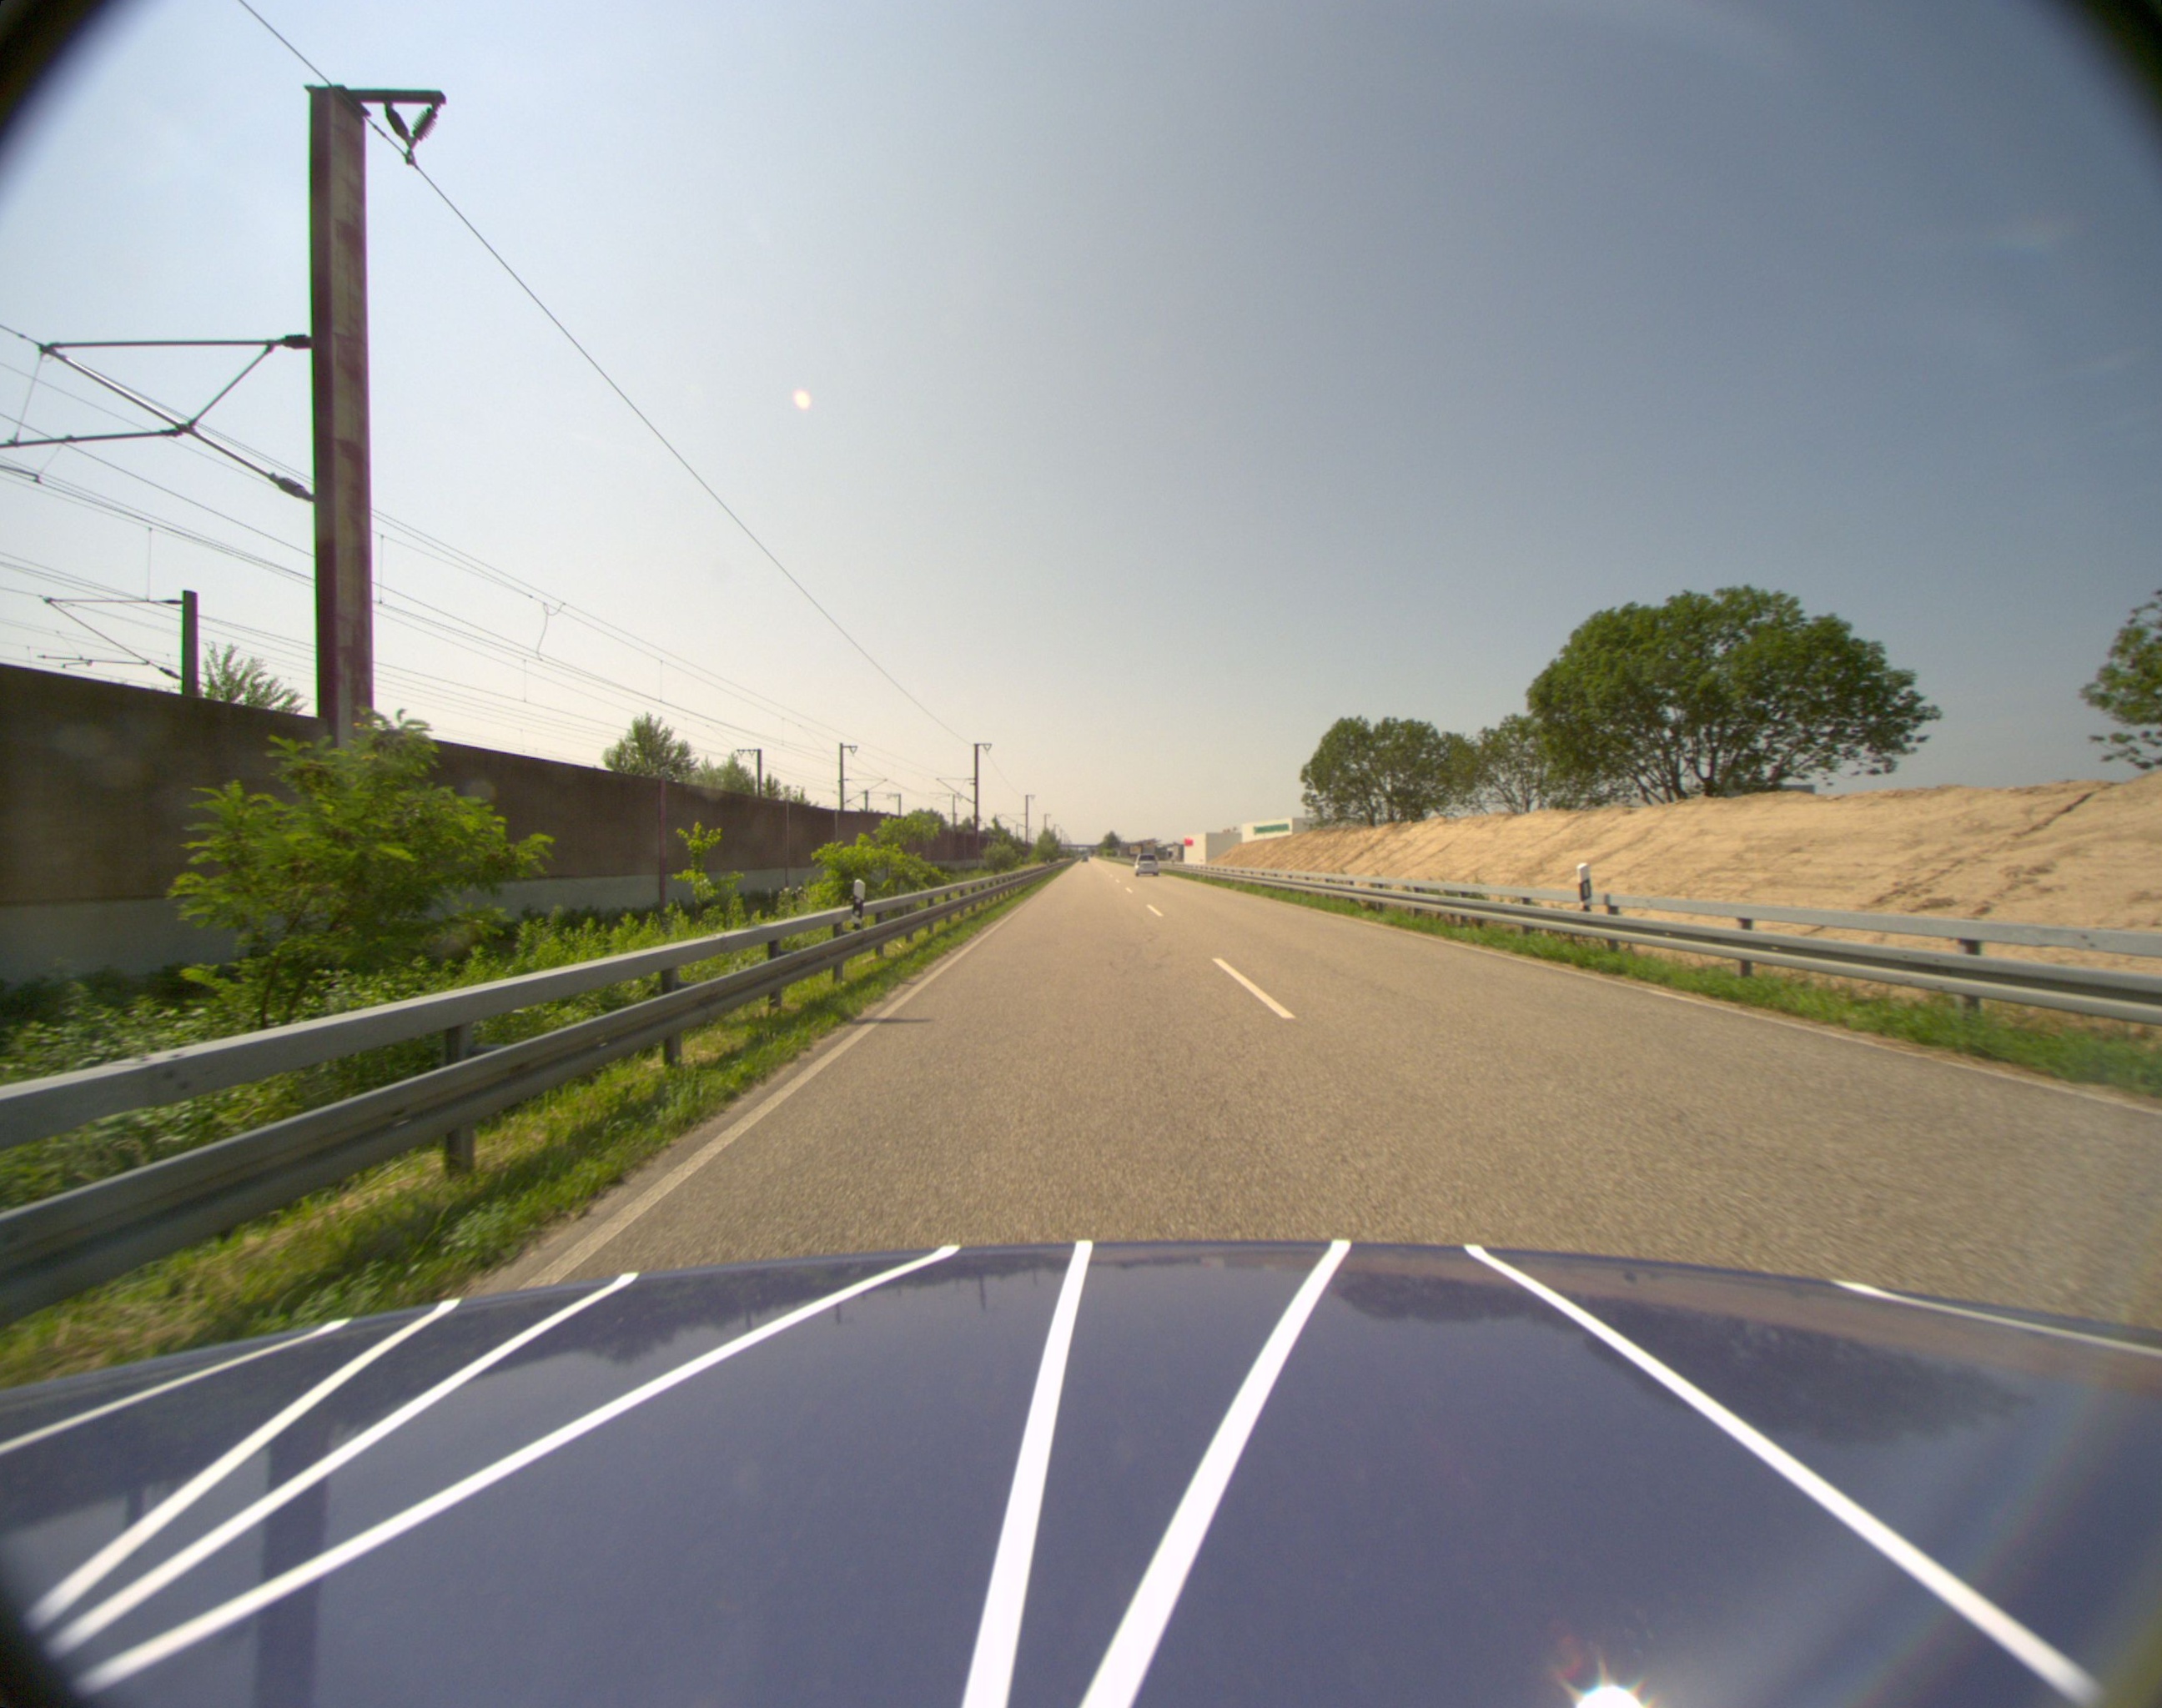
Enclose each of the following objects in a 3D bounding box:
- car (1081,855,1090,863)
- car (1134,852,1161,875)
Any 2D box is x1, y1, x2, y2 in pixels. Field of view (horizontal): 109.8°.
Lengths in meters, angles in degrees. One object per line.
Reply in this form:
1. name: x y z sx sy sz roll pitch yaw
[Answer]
1. car: 1.040 1.195 187.619 1.999 2.002 3.999 -1 0 -2
2. car: 4.730 0.633 54.452 1.599 1.567 3.828 -1 0 0
